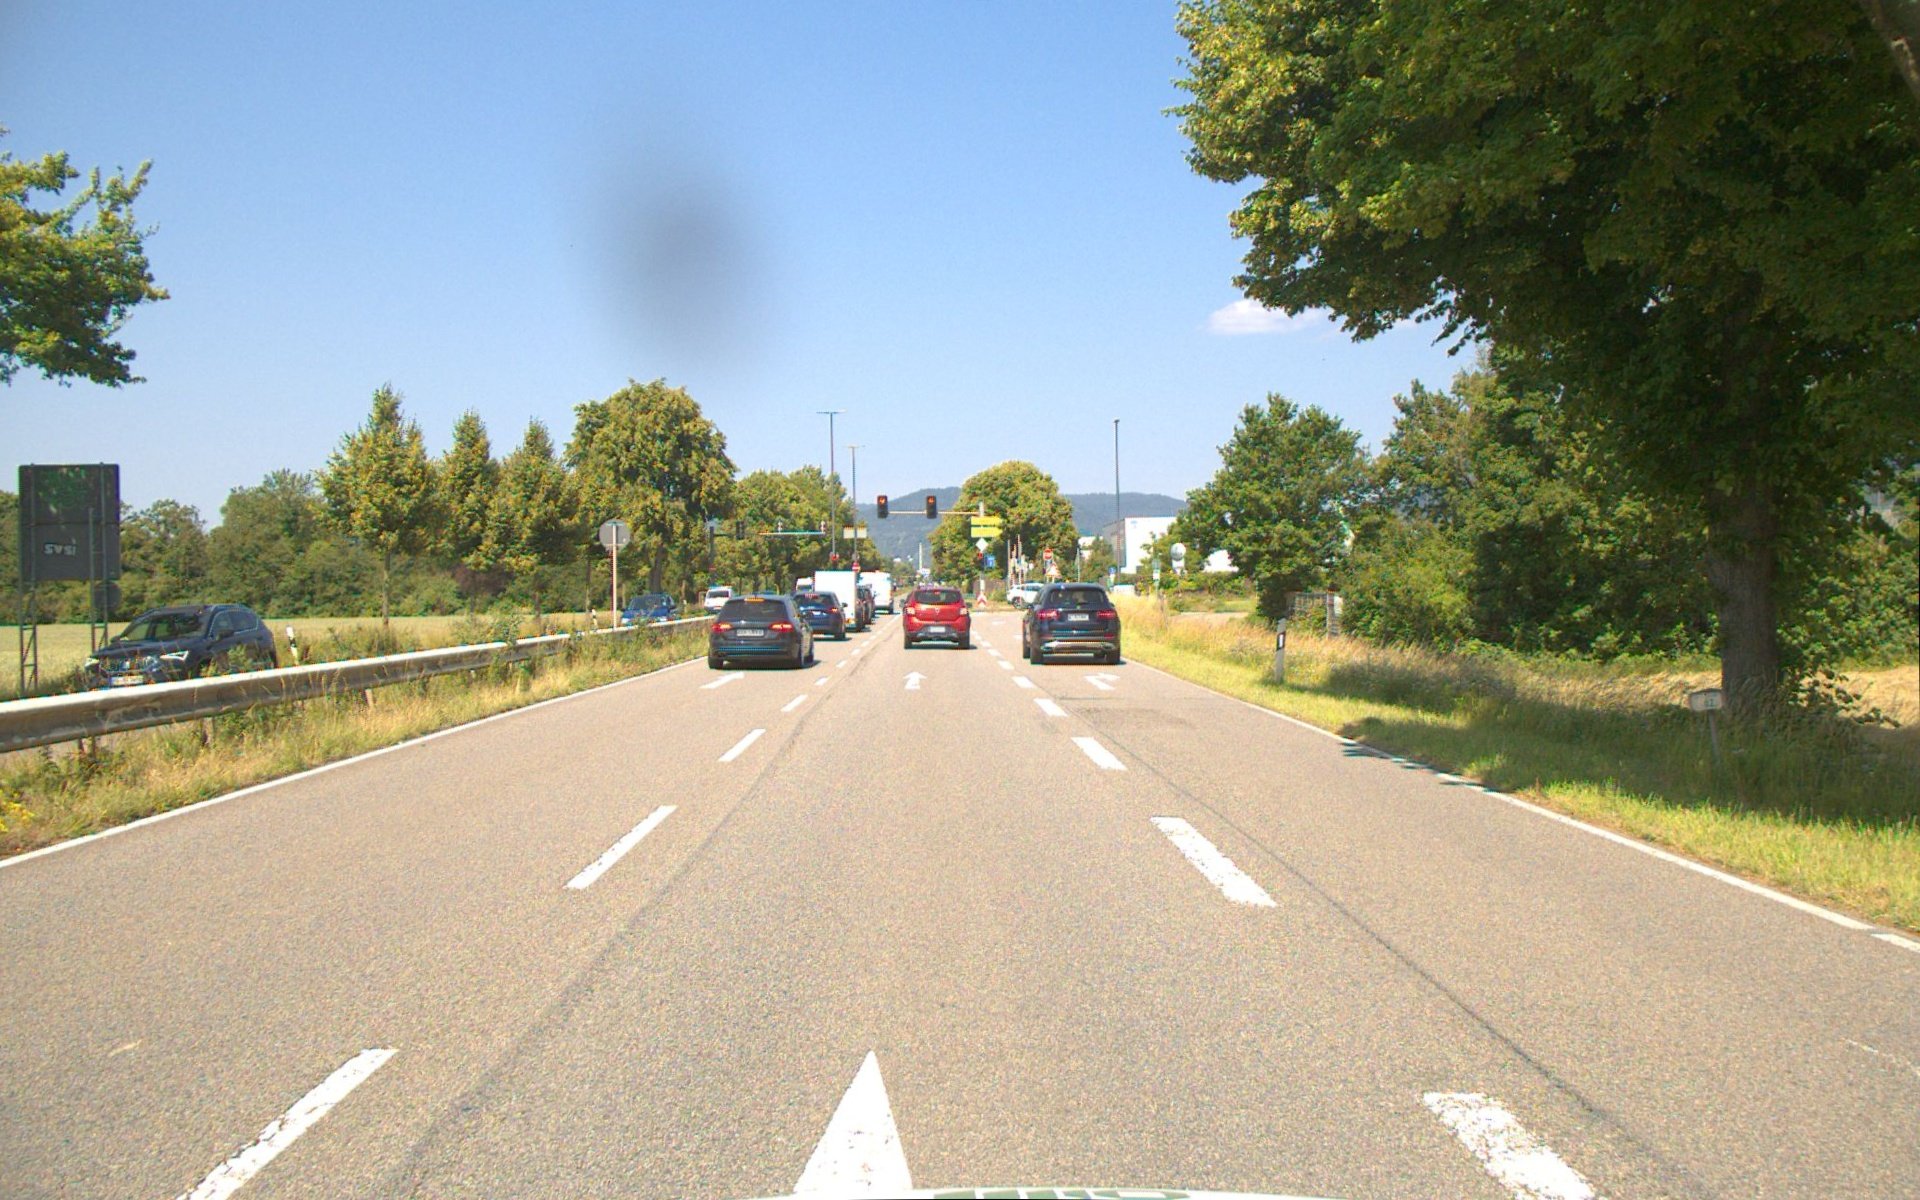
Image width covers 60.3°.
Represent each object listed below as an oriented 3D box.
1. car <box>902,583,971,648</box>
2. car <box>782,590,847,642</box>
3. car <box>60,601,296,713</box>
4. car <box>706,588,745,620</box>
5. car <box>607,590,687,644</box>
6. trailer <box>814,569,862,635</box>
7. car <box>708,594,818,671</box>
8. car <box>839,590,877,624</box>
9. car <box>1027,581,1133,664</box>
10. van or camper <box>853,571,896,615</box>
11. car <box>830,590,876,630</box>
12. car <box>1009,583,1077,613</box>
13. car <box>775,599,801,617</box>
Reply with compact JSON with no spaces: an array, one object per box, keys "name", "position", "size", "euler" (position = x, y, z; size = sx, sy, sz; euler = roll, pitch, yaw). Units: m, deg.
[{"name":"car","position":[-0.572,0.374,42.970],"size":[1.713,1.603,3.676],"euler":[1,0,0]},{"name":"car","position":[-4.290,0.442,49.250],"size":[1.682,1.491,4.029],"euler":[0,0,-1]},{"name":"car","position":[-13.044,0.885,27.938],"size":[1.953,1.691,4.479],"euler":[-1,0,-2]},{"name":"car","position":[-15.575,0.245,110.064],"size":[1.953,1.985,4.828],"euler":[-1,0,-2]},{"name":"car","position":[-10.470,0.548,55.615],"size":[1.953,1.691,4.479],"euler":[-1,0,-2]},{"name":"trailer","position":[-4.300,0.061,58.615],"size":[1.470,2.211,4.173],"euler":[-1,0,-2]},{"name":"car","position":[-3.833,0.592,32.780],"size":[1.705,1.404,4.454],"euler":[1,0,-1]},{"name":"car","position":[-5.144,0.347,83.952],"size":[1.689,1.628,3.955],"euler":[-1,0,-1]},{"name":"car","position":[2.460,0.432,34.973],"size":[1.952,1.645,4.339],"euler":[0,0,0]},{"name":"van or camper","position":[-4.827,-0.405,94.318],"size":[2.134,2.343,4.826],"euler":[-2,0,0]},{"name":"car","position":[-4.497,0.407,69.883],"size":[1.688,1.603,3.892],"euler":[-2,0,-1]},{"name":"car","position":[5.493,-0.151,109.353],"size":[4.397,1.900,1.885],"euler":[-1,0,1]},{"name":"car","position":[-14.711,0.687,141.790],"size":[1.841,1.480,4.503],"euler":[-1,0,-2]}]
